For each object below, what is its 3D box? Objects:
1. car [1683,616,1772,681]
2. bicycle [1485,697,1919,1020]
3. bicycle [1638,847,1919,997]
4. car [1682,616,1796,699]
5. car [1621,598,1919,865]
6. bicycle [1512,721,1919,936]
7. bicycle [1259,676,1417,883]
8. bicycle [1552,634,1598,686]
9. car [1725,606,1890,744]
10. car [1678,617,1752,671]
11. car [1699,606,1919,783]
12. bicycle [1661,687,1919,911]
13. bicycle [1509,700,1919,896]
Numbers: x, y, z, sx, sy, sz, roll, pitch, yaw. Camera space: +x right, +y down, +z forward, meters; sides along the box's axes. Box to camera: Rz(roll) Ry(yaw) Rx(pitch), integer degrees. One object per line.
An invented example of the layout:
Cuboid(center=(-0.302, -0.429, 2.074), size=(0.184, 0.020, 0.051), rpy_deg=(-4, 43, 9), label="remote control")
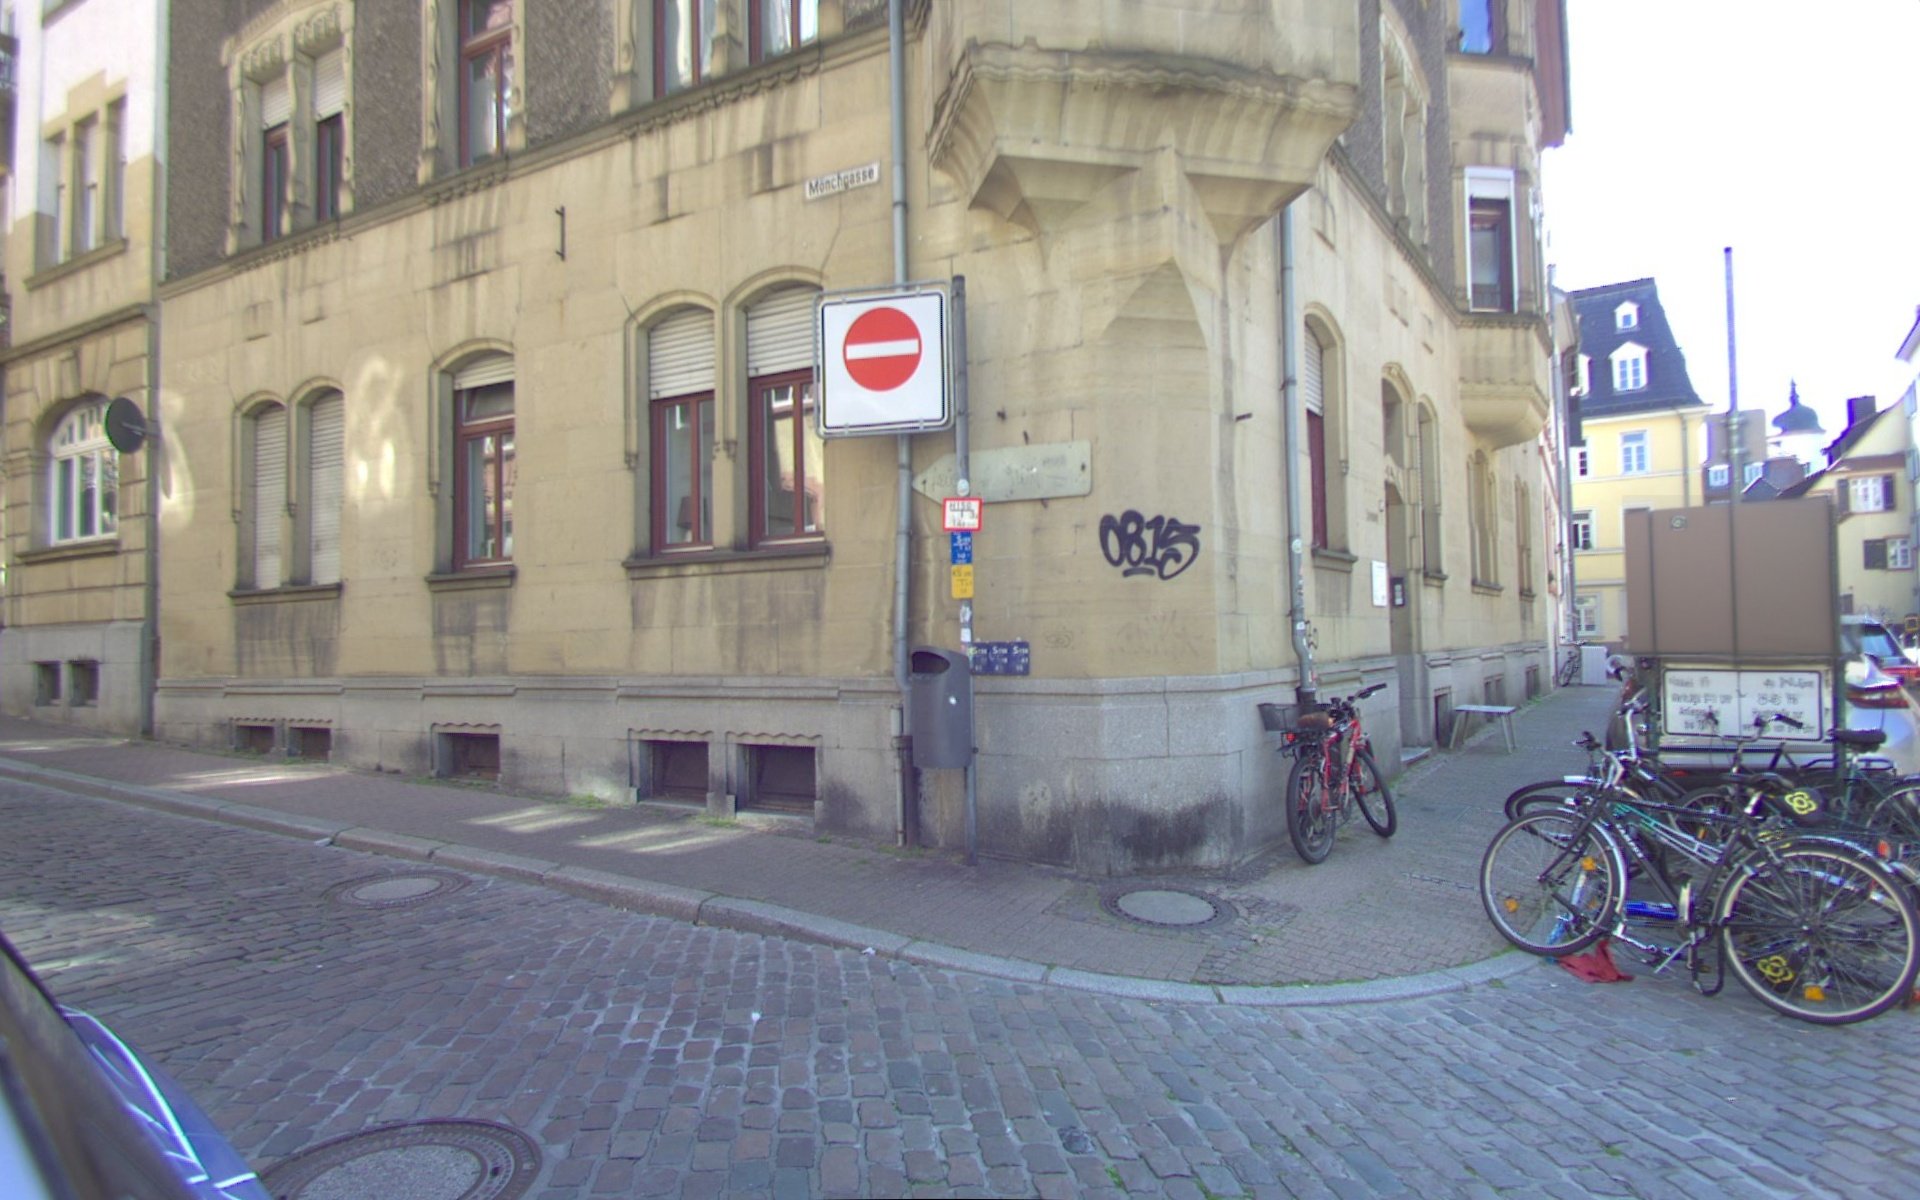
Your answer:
Cuboid(center=(19.525, 1.169, 25.781), size=(1.660, 1.454, 4.019), rpy_deg=(-1, -1, 37), label="car")
Cuboid(center=(3.173, 1.007, 4.300), size=(0.281, 1.094, 1.645), rpy_deg=(-3, 0, -39), label="bicycle")
Cuboid(center=(3.921, 1.428, 4.598), size=(1.061, 0.290, 1.126), rpy_deg=(1, -3, -39), label="bicycle")
Cuboid(center=(15.730, 1.095, 20.502), size=(1.660, 1.454, 3.812), rpy_deg=(-1, -1, 37), label="car")
Cuboid(center=(6.339, 0.820, 7.792), size=(1.849, 1.556, 3.880), rpy_deg=(-3, -3, 36), label="car")
Cuboid(center=(3.566, 1.069, 4.801), size=(1.634, 1.080, 0.287), rpy_deg=(-1, 42, 27), label="bicycle")
Cuboid(center=(2.509, 1.090, 6.607), size=(0.495, 1.094, 1.622), rpy_deg=(3, 0, 37), label="bicycle")
Cuboid(center=(13.829, 1.335, 22.741), size=(1.582, 1.107, 0.483), rpy_deg=(0, -2, -44), label="bicycle")
Cuboid(center=(11.864, 0.939, 14.358), size=(1.566, 1.648, 3.812), rpy_deg=(-1, -1, 37), label="car")
Cuboid(center=(22.606, 1.260, 30.294), size=(1.660, 1.454, 3.812), rpy_deg=(-1, -1, 37), label="car")
Cuboid(center=(9.286, 0.870, 11.050), size=(1.850, 1.556, 3.949), rpy_deg=(-1, -1, 38), label="car")
Cuboid(center=(4.707, 1.029, 5.307), size=(1.624, 1.094, 0.285), rpy_deg=(-4, -5, 10), label="bicycle")
Cuboid(center=(3.792, 1.010, 5.240), size=(1.634, 1.080, 0.287), rpy_deg=(-1, 42, 27), label="bicycle")
